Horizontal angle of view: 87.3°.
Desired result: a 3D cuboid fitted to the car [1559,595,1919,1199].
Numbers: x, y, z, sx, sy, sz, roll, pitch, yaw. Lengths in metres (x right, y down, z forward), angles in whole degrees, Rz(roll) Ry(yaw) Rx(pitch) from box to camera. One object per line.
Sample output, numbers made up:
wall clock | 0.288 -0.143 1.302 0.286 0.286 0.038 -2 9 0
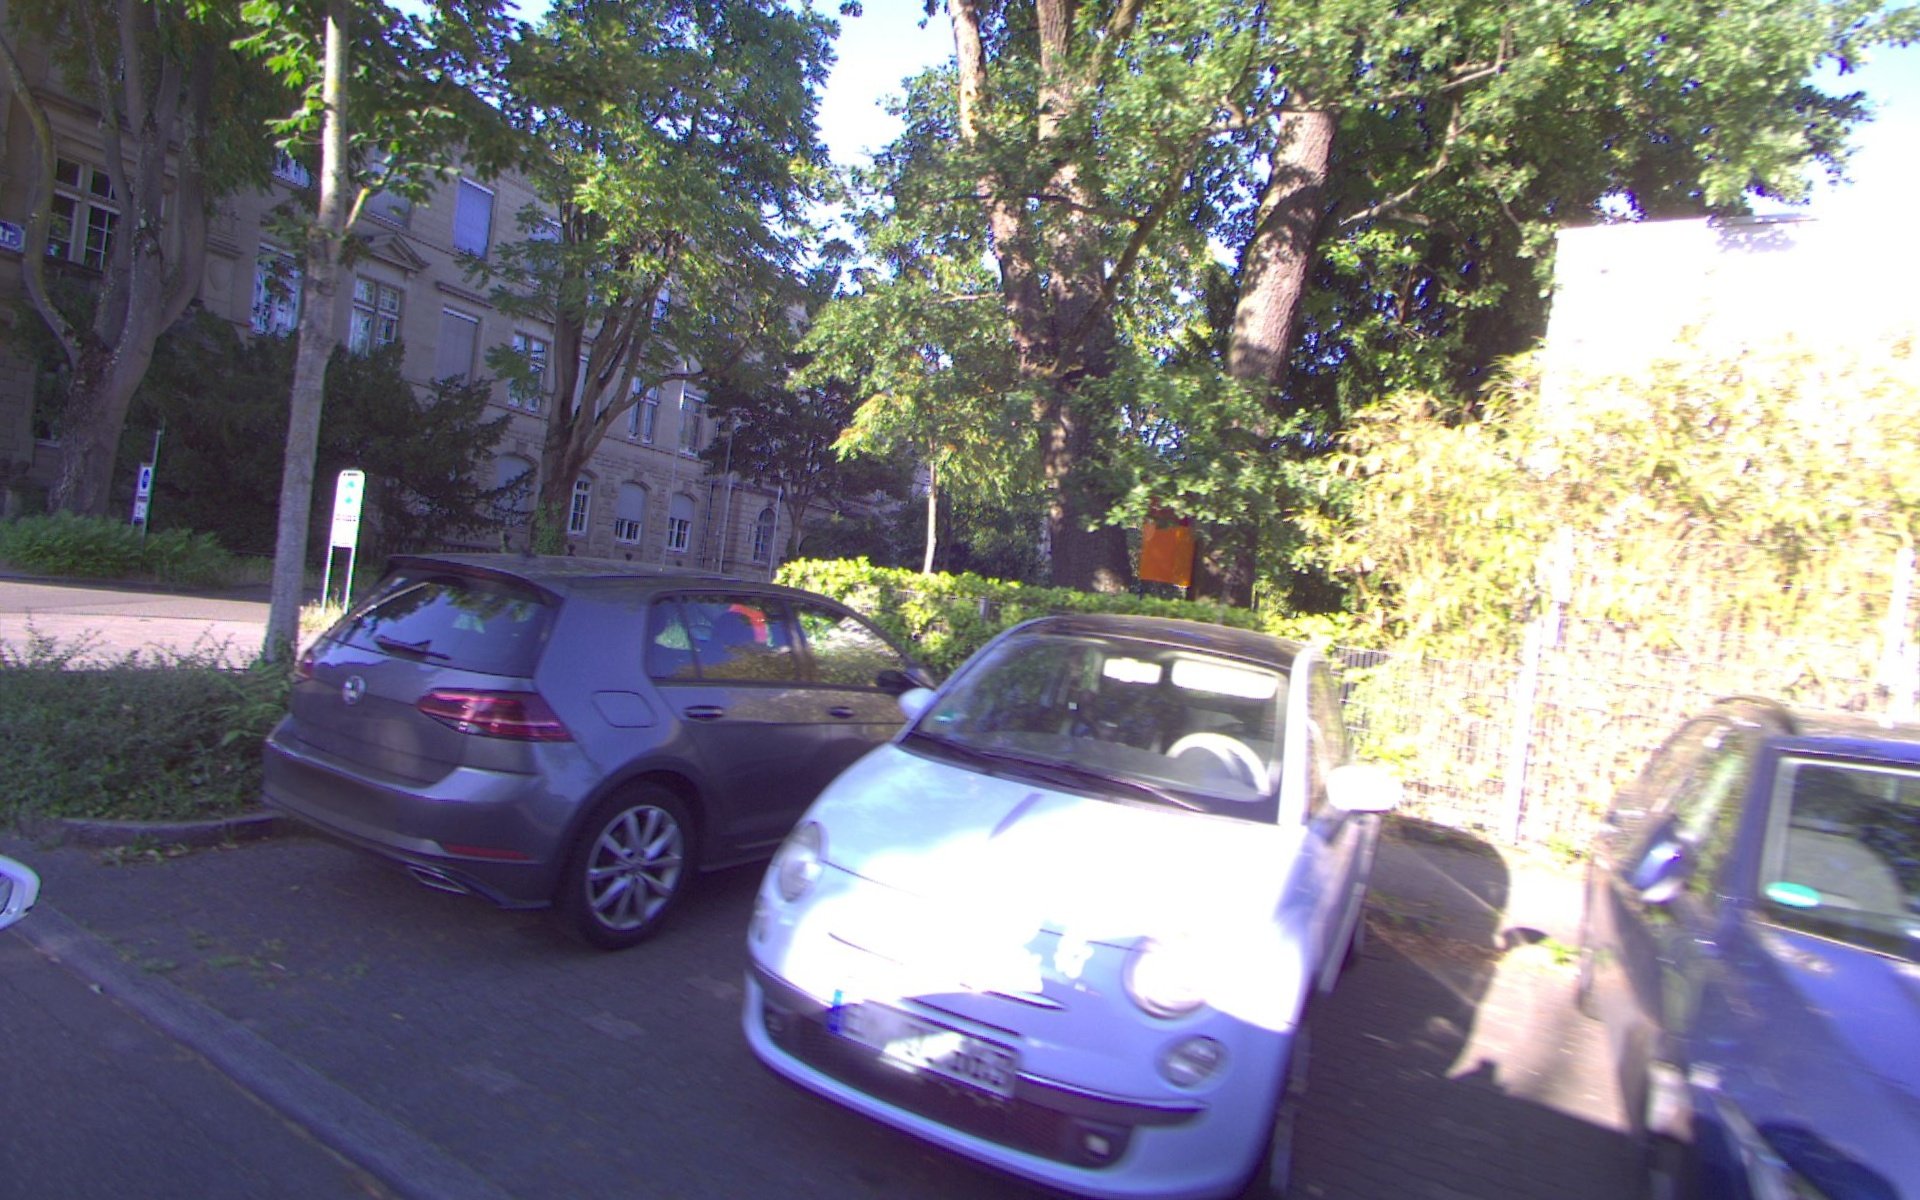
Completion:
car | 2.930 1.046 2.880 1.859 1.568 4.499 7 -1 30

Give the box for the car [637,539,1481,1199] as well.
car | 0.908 0.835 4.085 1.647 1.535 3.958 7 -1 33

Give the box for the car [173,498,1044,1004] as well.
car | -1.316 0.549 5.265 1.843 1.535 3.959 5 -1 31
